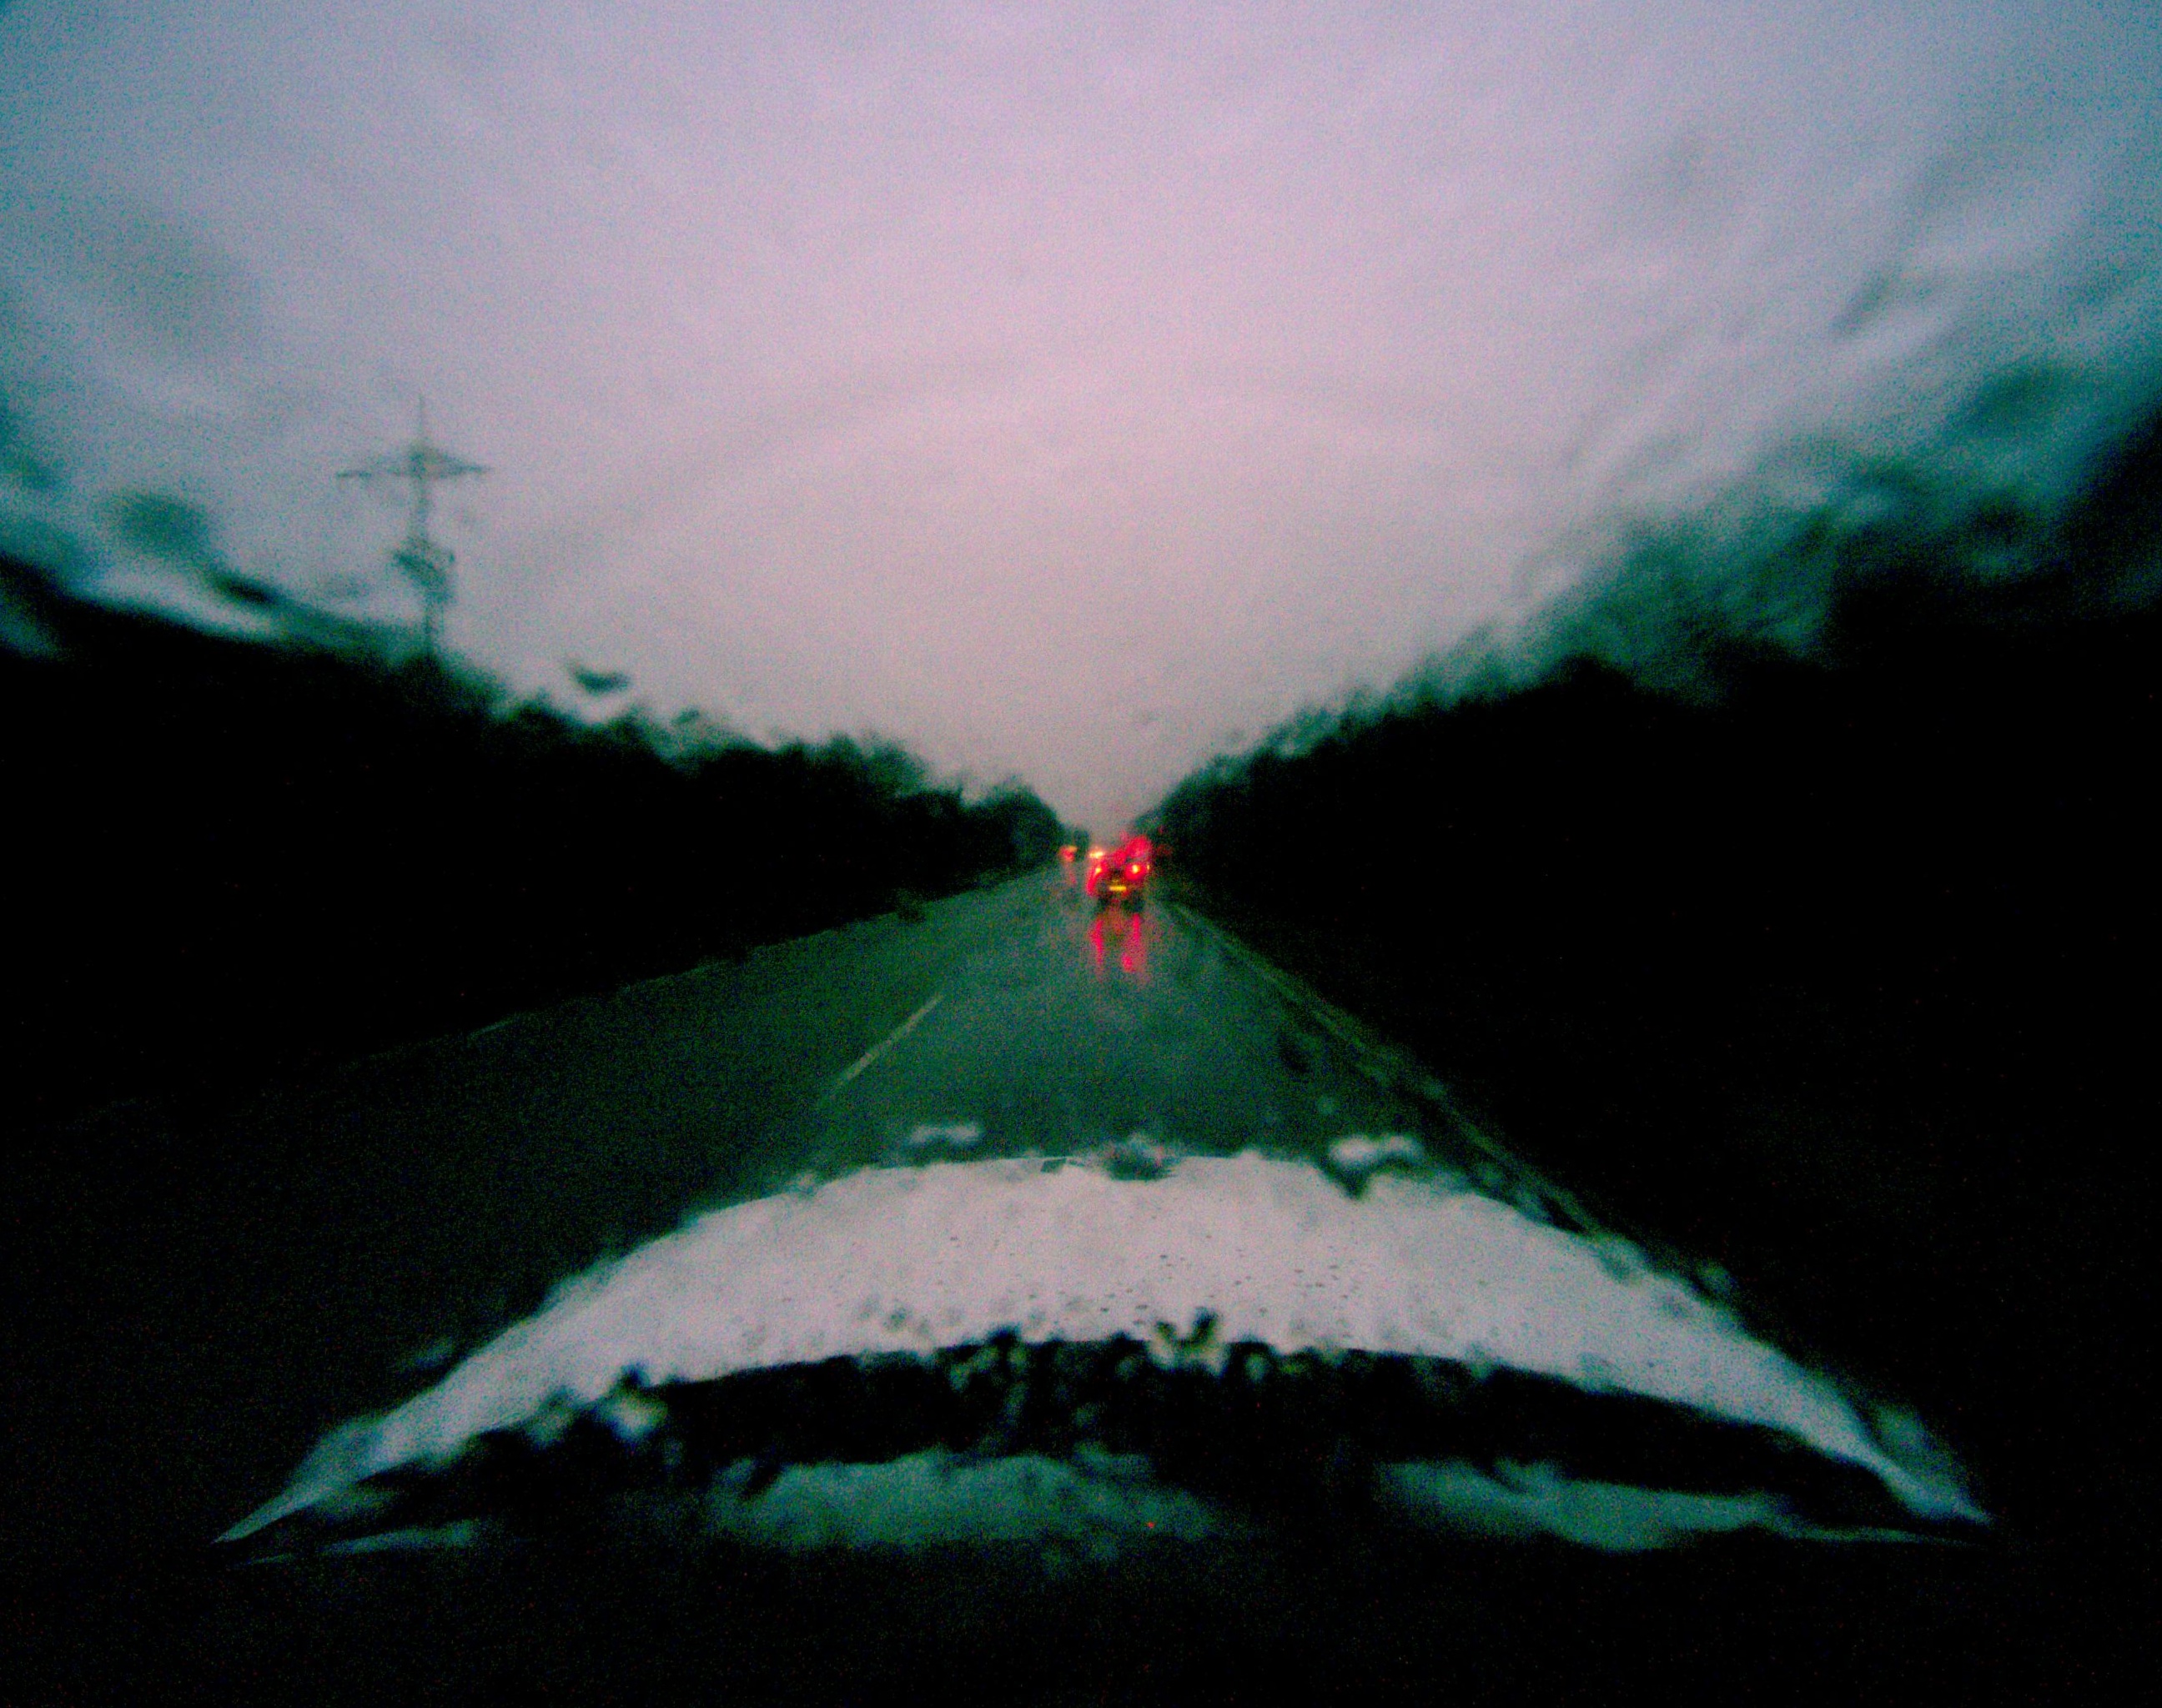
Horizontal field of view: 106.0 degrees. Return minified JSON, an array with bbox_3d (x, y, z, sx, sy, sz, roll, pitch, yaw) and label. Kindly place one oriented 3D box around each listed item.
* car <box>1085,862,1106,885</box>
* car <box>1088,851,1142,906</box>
[{"bbox_3d":[1.206,1.579,66.904,1.727,1.779,4.001,-1,0,1],"label":"car"},{"bbox_3d":[1.105,0.752,26.685,1.642,1.672,3.515,-1,0,2],"label":"car"}]
